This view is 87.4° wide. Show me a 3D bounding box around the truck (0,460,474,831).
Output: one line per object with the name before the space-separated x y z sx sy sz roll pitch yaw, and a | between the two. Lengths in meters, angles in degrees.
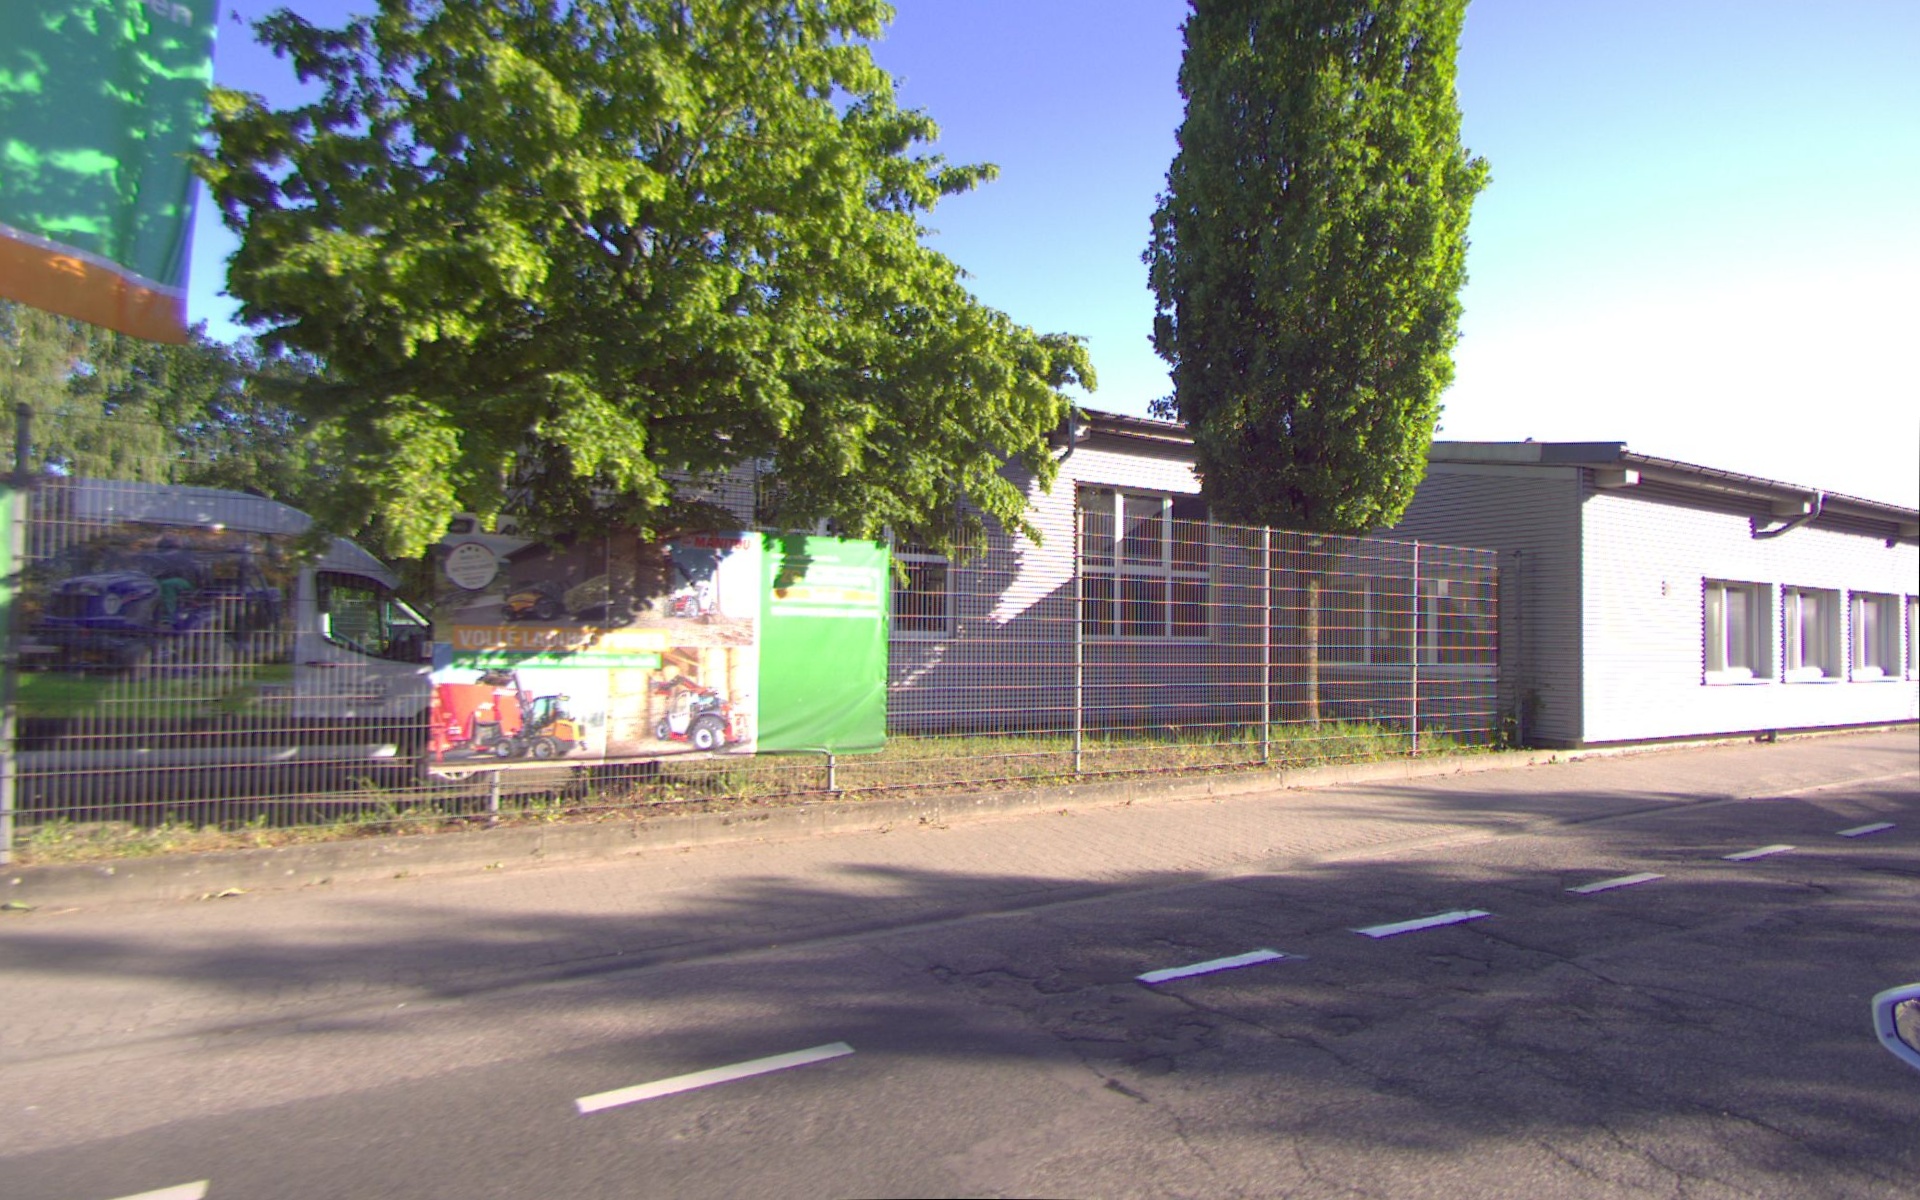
truck | -7.437 0.380 8.660 5.697 2.798 2.069 1 -2 -31
